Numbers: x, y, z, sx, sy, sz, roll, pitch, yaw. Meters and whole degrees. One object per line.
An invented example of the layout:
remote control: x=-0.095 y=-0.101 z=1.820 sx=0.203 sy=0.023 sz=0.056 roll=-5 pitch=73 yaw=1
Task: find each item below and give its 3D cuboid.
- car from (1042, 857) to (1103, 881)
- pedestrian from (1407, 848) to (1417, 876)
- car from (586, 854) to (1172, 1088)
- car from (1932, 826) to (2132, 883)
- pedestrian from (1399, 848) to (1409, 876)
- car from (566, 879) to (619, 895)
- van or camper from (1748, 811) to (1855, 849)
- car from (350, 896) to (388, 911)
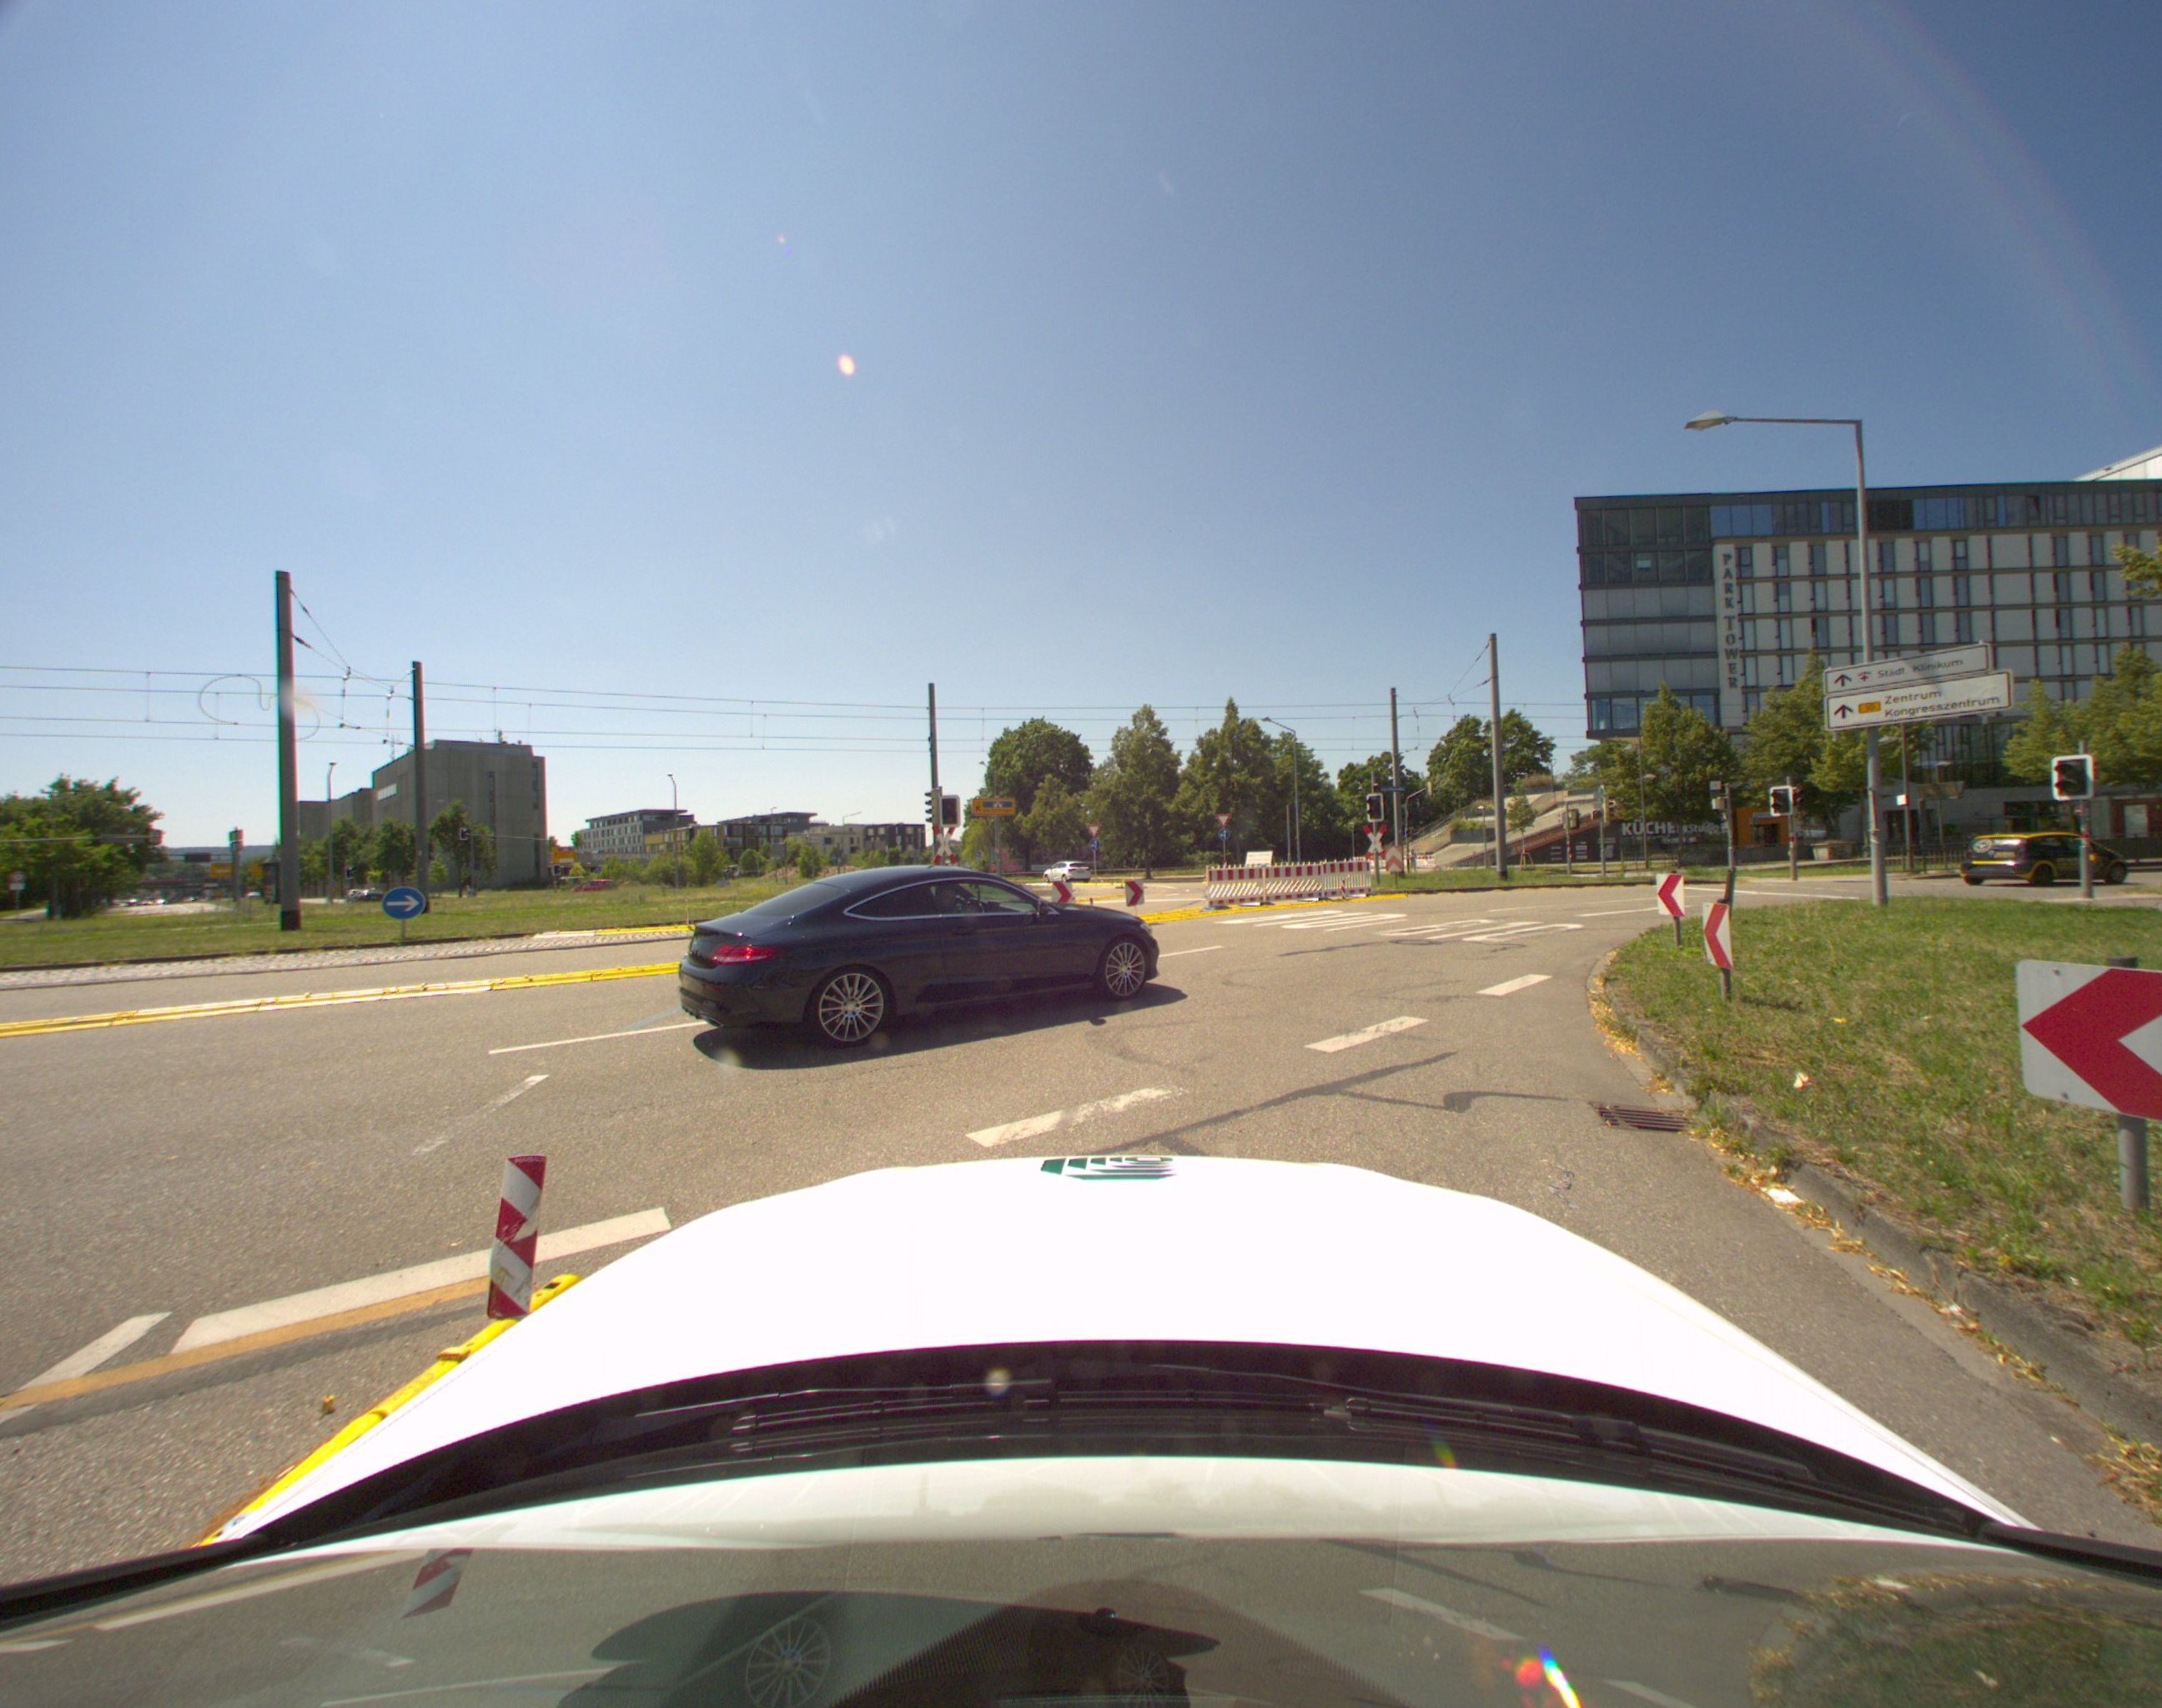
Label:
car: x=-0.636 y=1.018 z=53.978 sx=2.008 sy=1.486 sz=4.321 roll=-2 pitch=-1 yaw=-33
pedestrian: x=20.736 y=0.505 z=50.969 sx=0.446 sy=1.739 sz=0.318 roll=-2 pitch=-1 yaw=-2
car: x=-1.581 y=0.781 z=7.585 sx=4.980 sy=1.436 sz=1.836 roll=-1 pitch=-1 yaw=-39
car: x=26.243 y=0.022 z=22.535 sx=3.968 sy=1.451 sz=1.620 roll=-1 pitch=-1 yaw=-6
pedestrian: x=20.192 y=0.486 z=50.909 sx=0.446 sy=1.739 sz=0.291 roll=-2 pitch=-1 yaw=-2
car: x=-39.174 y=2.647 z=65.331 sx=3.488 sy=1.089 sz=1.501 roll=-2 pitch=0 yaw=8
van or camper: x=57.931 y=-1.922 z=65.547 sx=6.750 sy=2.822 sz=2.380 roll=-2 pitch=-1 yaw=-4
car: x=-62.912 y=4.331 z=71.949 sx=3.431 sy=1.192 sz=1.565 roll=-2 pitch=0 yaw=32
